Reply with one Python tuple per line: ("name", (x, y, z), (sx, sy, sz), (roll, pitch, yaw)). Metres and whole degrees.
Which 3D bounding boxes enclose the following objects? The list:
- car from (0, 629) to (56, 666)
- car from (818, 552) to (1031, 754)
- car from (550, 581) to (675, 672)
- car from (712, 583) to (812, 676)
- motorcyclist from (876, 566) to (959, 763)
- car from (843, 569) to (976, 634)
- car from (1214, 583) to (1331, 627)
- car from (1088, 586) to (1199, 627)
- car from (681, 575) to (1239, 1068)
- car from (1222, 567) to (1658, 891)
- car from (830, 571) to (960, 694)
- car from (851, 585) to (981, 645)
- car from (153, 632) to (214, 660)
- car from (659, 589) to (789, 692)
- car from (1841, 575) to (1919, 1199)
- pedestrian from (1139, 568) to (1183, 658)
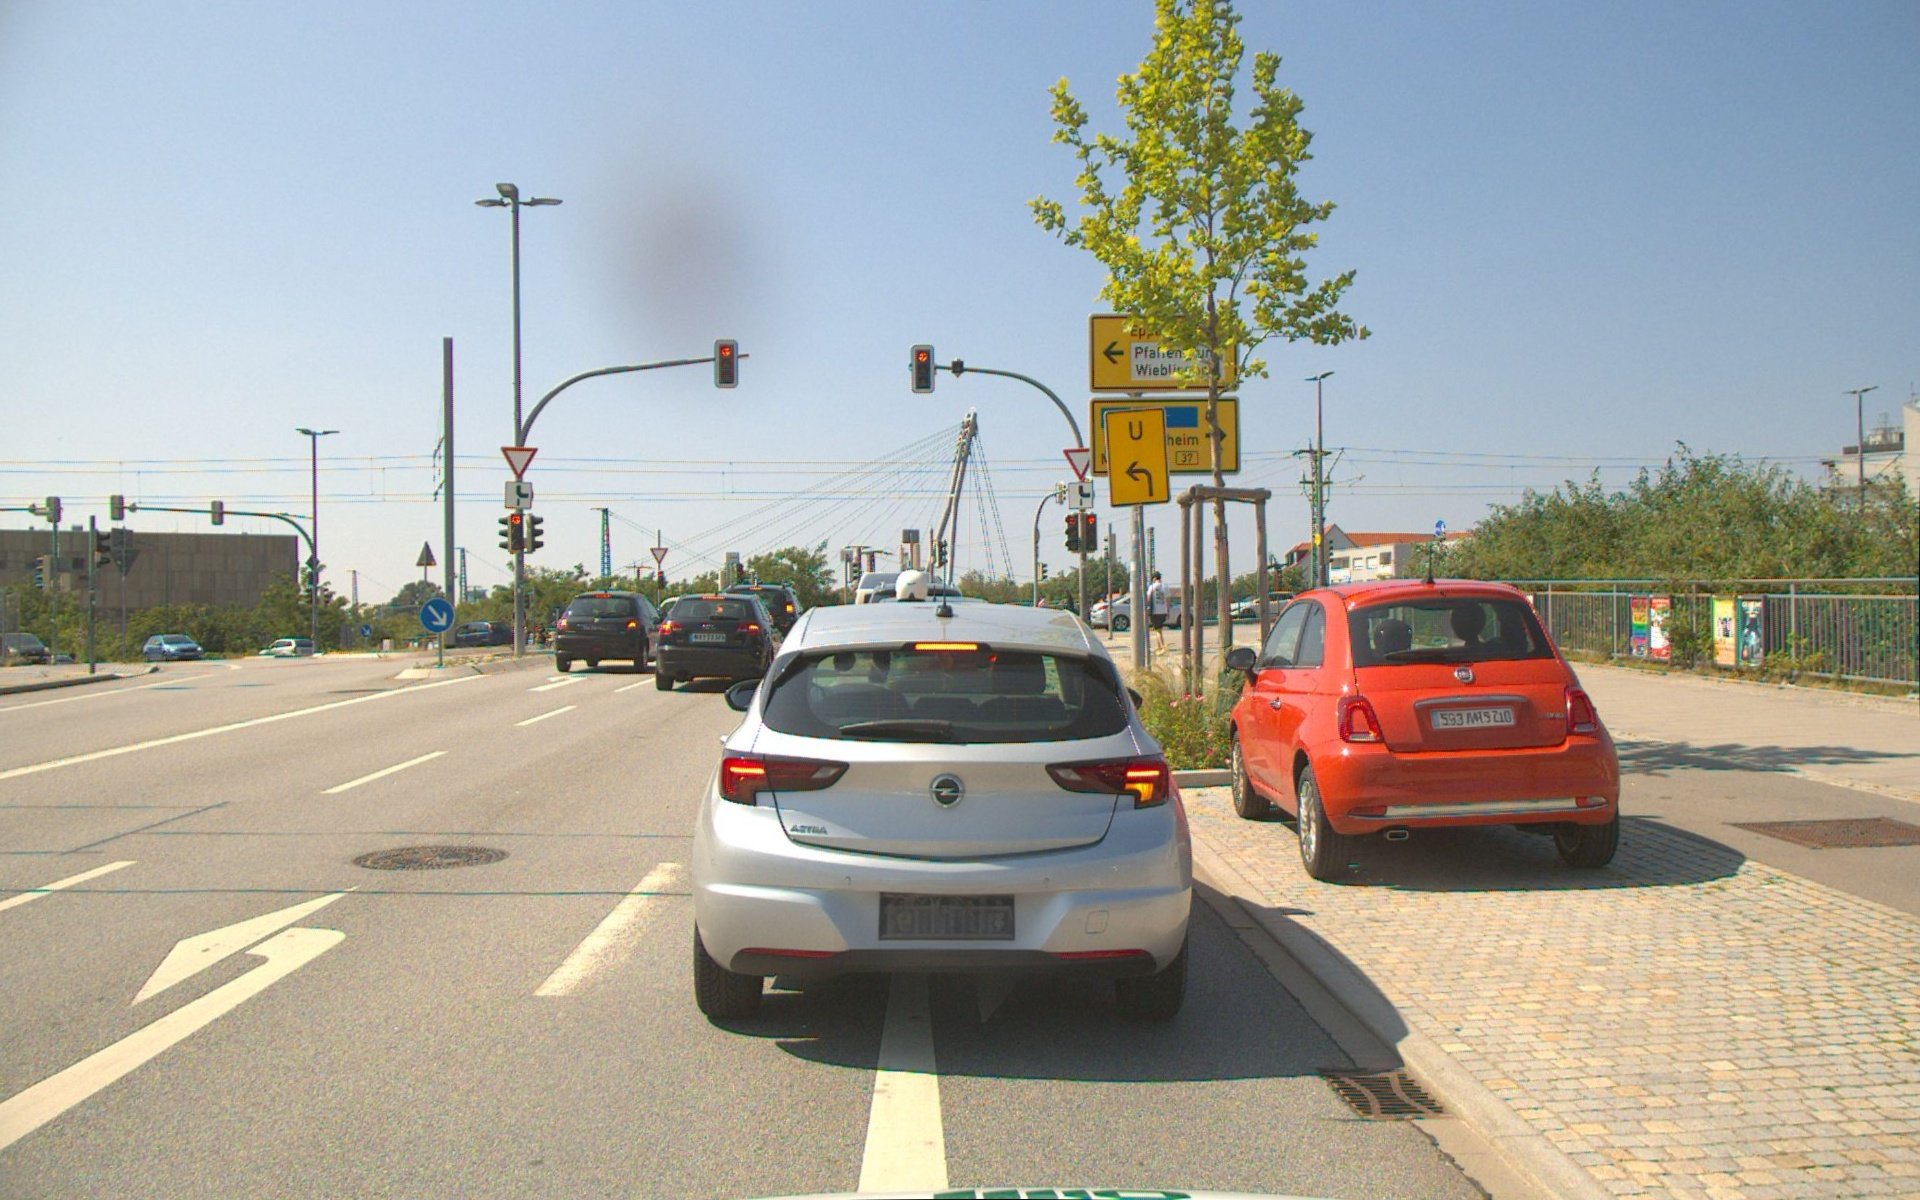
("car", (-41.211, 2.074, 73.042), (1.662, 1.502, 3.358), (-1, 1, -39))
("car", (-0.357, 0.468, 17.605), (1.953, 1.852, 4.401), (1, 1, -1))
("car", (-6.429, 0.475, 30.964), (1.565, 1.574, 3.761), (1, 0, -1))
("car", (-3.716, 0.530, 31.524), (1.616, 1.643, 3.818), (1, 0, -3))
("motorcyclist", (-0.311, 0.469, 12.281), (0.570, 1.413, 0.706), (1, -1, -1))
("car", (-1.882, 0.066, 62.665), (4.895, 2.418, 1.784), (0, -1, 3))
("car", (12.231, 0.210, 64.769), (4.207, 1.660, 1.747), (0, -1, -17))
("car", (7.117, 0.255, 64.344), (3.913, 1.508, 1.996), (1, 0, -9))
("car", (-0.101, 0.697, 7.113), (1.708, 1.503, 3.997), (1, 0, -3))
("car", (2.616, 0.617, 9.776), (1.577, 1.522, 3.352), (-2, 0, 0))
("car", (-0.875, 0.399, 23.732), (1.689, 1.591, 4.000), (1, 1, -1))
("car", (-1.593, 0.544, 59.750), (4.608, 2.049, 1.999), (1, 0, -3))
("car", (-38.717, 2.291, 82.384), (1.806, 1.354, 3.941), (1, -2, -40))
("car", (-3.585, 0.587, 25.643), (1.543, 1.459, 3.785), (1, 0, -2))
("car", (2.936, 0.648, 1.918), (1.626, 1.451, 3.999), (-1, 0, -1))
("pedestrian", (4.253, 0.267, 34.981), (0.635, 1.868, 0.796), (-1, -1, 30))
